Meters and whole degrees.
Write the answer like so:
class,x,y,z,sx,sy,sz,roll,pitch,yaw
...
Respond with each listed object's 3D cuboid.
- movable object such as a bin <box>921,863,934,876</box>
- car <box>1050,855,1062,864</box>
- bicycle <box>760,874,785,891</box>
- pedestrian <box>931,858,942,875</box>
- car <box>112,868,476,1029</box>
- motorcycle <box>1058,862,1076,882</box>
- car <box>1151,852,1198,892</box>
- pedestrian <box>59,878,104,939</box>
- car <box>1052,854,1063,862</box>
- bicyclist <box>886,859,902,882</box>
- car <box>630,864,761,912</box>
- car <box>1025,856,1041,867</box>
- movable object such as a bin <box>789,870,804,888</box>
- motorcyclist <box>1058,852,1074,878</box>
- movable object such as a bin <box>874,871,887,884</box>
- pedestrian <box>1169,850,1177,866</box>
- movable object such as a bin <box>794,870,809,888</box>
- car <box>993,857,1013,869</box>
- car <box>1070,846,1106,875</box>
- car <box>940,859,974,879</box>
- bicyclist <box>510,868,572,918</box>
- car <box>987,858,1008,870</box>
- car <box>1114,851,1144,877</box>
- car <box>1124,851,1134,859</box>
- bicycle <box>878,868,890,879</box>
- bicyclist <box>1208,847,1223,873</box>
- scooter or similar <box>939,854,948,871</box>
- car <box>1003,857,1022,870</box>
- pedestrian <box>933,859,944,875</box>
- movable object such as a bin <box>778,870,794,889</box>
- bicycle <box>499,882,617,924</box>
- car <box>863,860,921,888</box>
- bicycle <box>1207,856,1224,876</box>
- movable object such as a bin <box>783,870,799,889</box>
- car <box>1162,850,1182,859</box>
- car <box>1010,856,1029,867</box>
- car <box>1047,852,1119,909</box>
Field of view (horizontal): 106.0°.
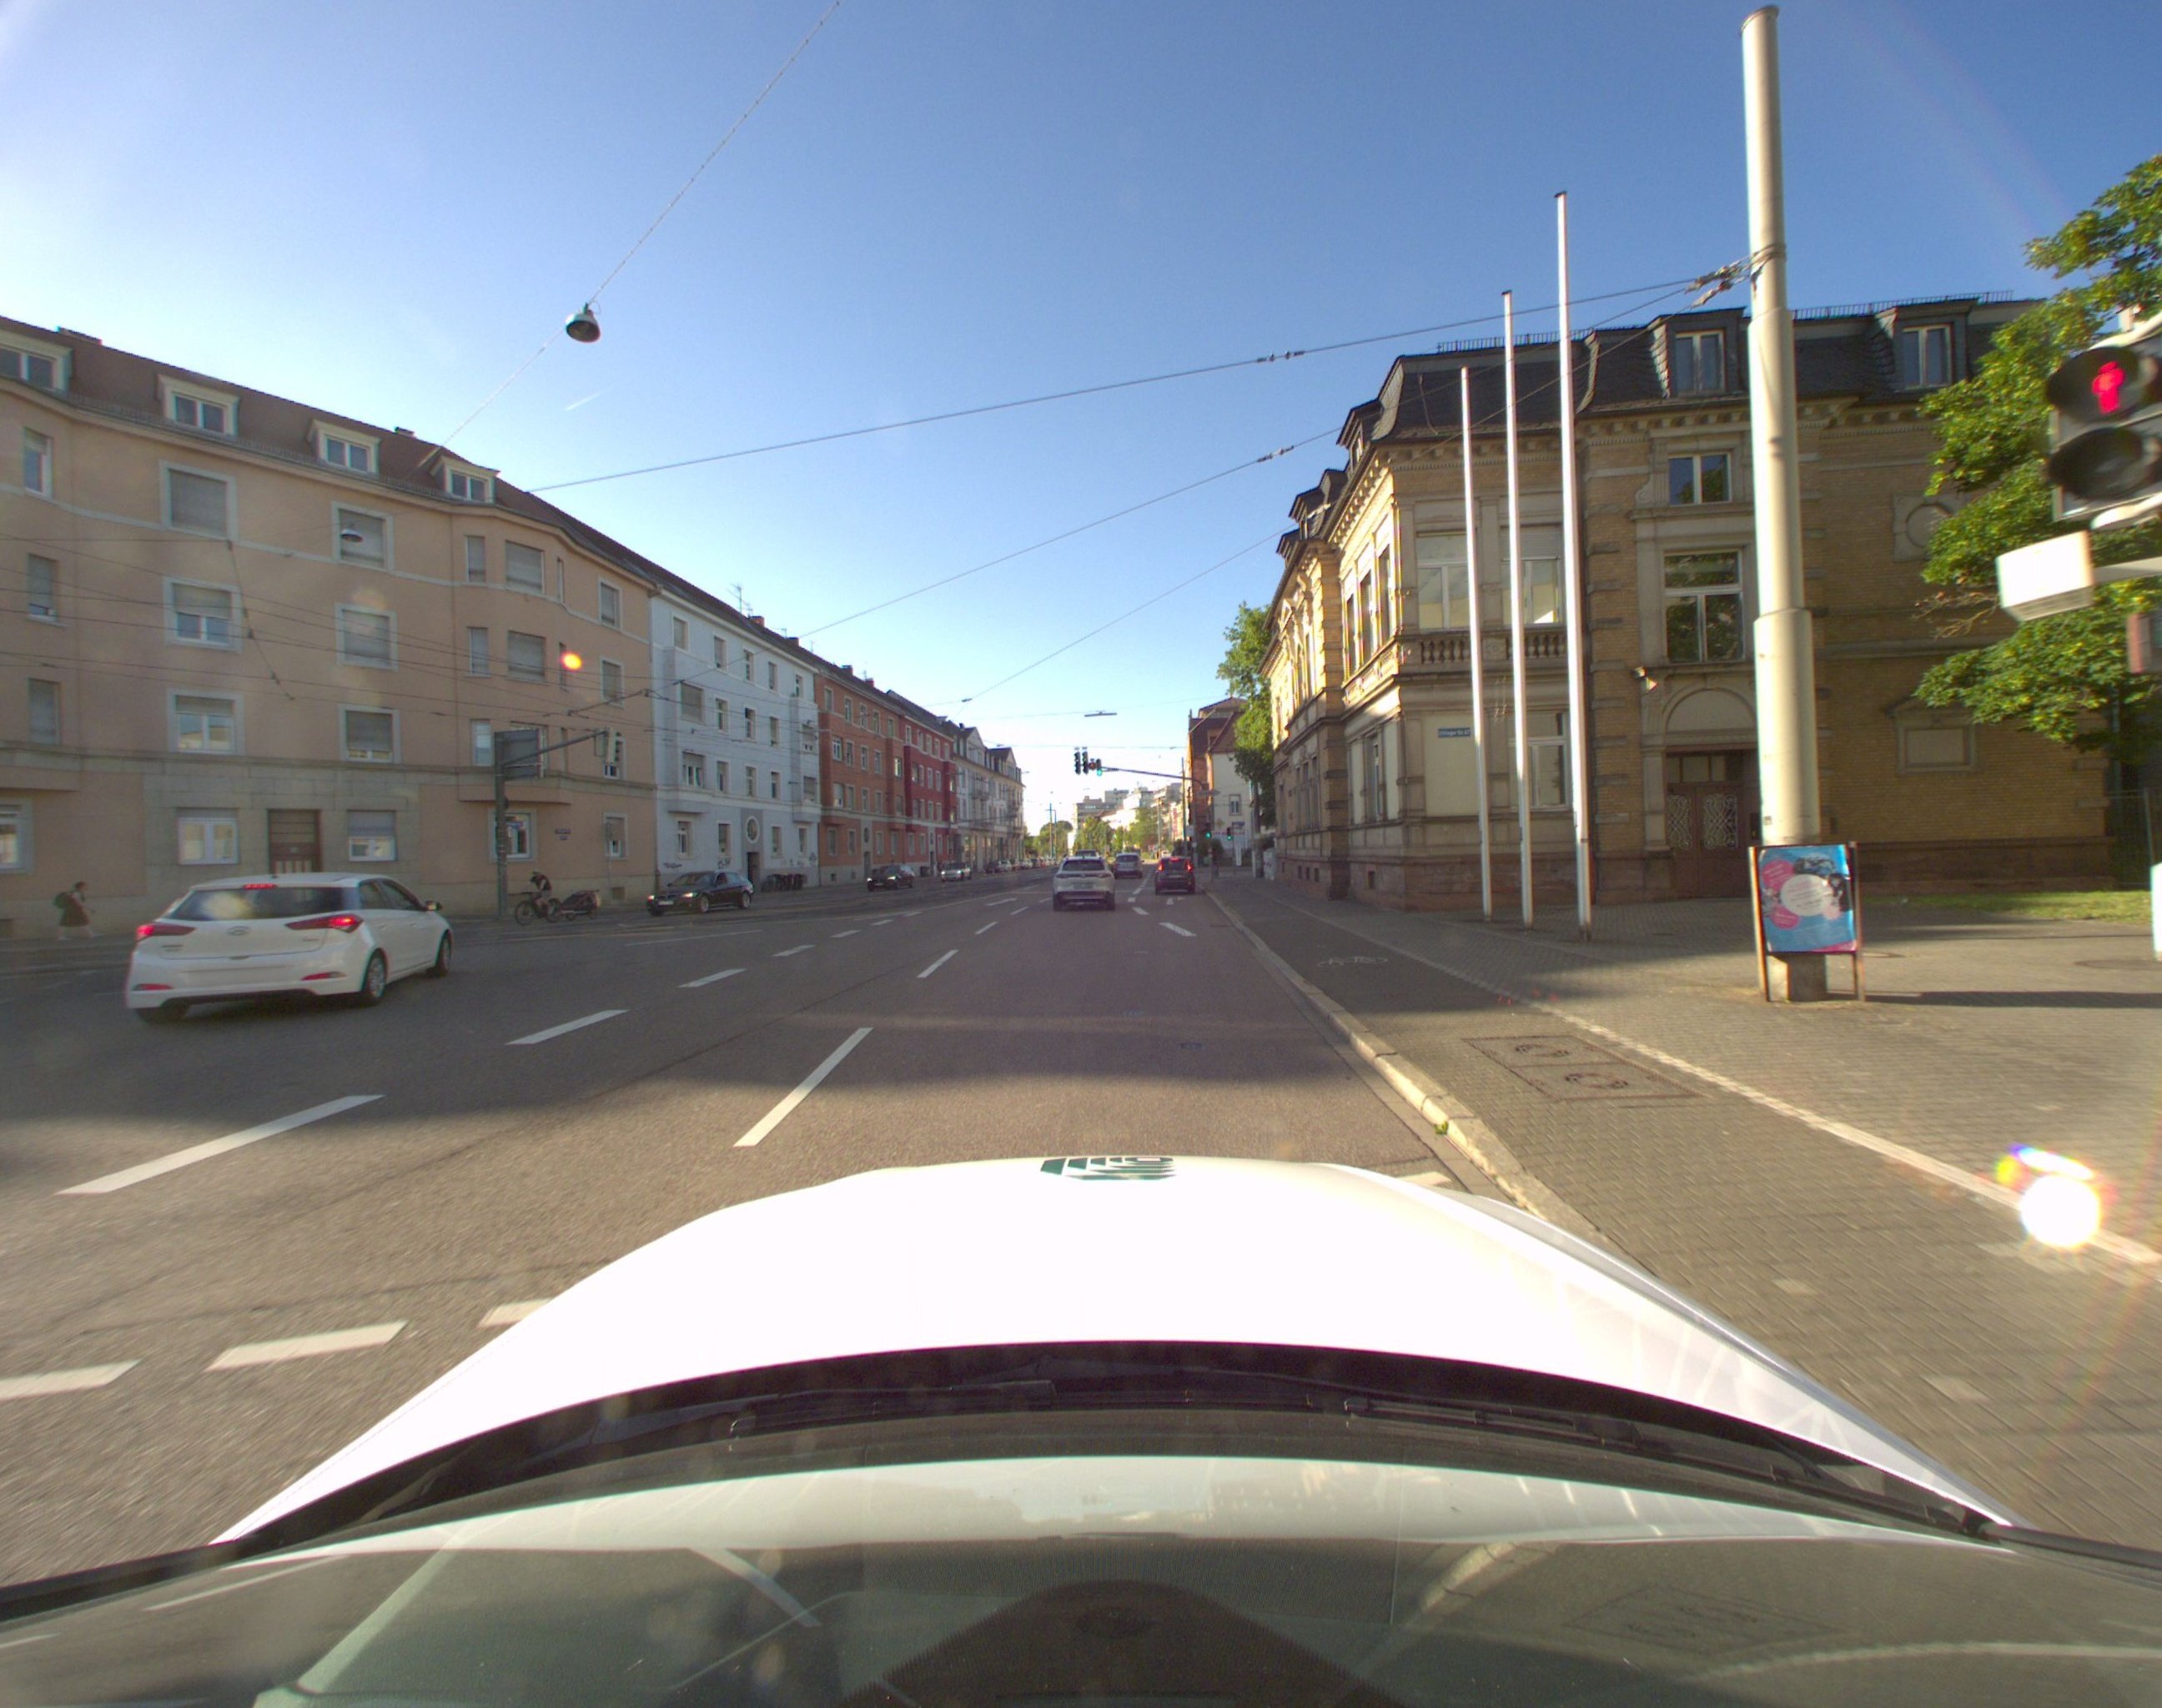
class,x,y,z,sx,sy,sz,roll,pitch,yaw
movable object such as a bin,-14.919,1.497,79.147,0.865,1.249,1.237,-2,0,12
car,-4.836,1.038,155.864,1.710,1.552,4.007,-2,0,6
bicycle,-18.399,1.700,48.570,0.602,0.980,1.880,-1,0,6
pedestrian,-14.355,1.262,80.965,0.785,1.633,0.658,-2,0,24
car,-8.833,0.894,9.658,1.795,1.394,4.072,-2,0,-24
motorcycle,-0.802,1.031,46.905,0.773,1.082,2.285,-2,0,6
car,3.923,0.695,33.814,1.721,1.500,4.010,-1,0,9
pedestrian,-26.741,1.446,21.805,0.668,1.563,0.725,-2,0,40
car,-4.618,0.757,161.893,1.710,1.552,4.007,-2,0,6
bicyclist,-13.818,1.192,60.129,0.742,1.643,1.128,-2,0,6
car,-12.939,1.083,27.702,1.985,1.392,4.567,-2,0,4
car,-7.450,1.181,126.099,1.710,1.552,4.007,-2,0,6
movable object such as a bin,-17.968,1.593,51.444,0.698,1.106,0.583,-1,0,5
motorcyclist,-0.881,0.628,46.857,0.773,1.423,0.893,-2,0,6
movable object such as a bin,-16.323,1.894,66.281,0.840,1.040,0.812,-2,0,1
pedestrian,10.541,0.473,92.940,0.871,1.824,1.187,-2,0,7
movable object such as a bin,-17.887,1.619,52.065,0.698,1.106,0.583,-1,0,5
car,-9.916,1.105,104.257,1.710,1.452,4.007,-2,0,6
car,0.571,0.488,61.682,2.161,2.009,4.816,-2,0,6
car,-9.417,1.152,62.269,1.718,1.375,3.539,-2,0,5
bicyclist,-15.932,1.130,24.054,0.928,1.382,1.151,-2,0,10
car,-10.136,1.209,98.660,1.710,1.232,4.007,-2,0,6
car,3.176,0.619,53.485,1.805,1.582,4.006,-2,0,5
car,10.844,0.294,184.071,1.984,1.662,4.503,-2,0,5
bicycle,-16.425,1.631,67.855,0.332,0.890,1.609,-2,0,10
bicyclist,7.866,0.349,47.729,0.829,1.525,0.996,-2,0,10
scooter or similar,-14.071,0.865,83.561,0.656,1.633,0.788,-2,0,-26
car,-9.191,1.265,109.171,1.710,1.552,3.863,-2,0,6
pedestrian,-14.382,1.323,82.028,0.834,1.633,0.787,-2,0,-32
movable object such as a bin,-18.181,1.560,50.174,0.698,1.106,0.649,-1,0,5
bicycle,-15.805,1.448,24.774,0.928,1.056,3.364,-2,0,11
car,-11.078,1.145,48.071,1.913,1.455,4.505,-2,0,5
bicycle,7.865,0.701,47.625,0.767,1.086,1.873,-2,0,5
movable object such as a bin,-18.106,1.588,50.817,0.698,1.106,0.583,-1,0,6
car,20.332,0.163,182.396,4.249,2.013,1.998,-1,0,-4
car,-8.755,1.038,115.945,1.826,1.552,4.281,-2,0,6
car,0.145,0.726,24.613,1.940,1.528,4.093,-1,0,3
